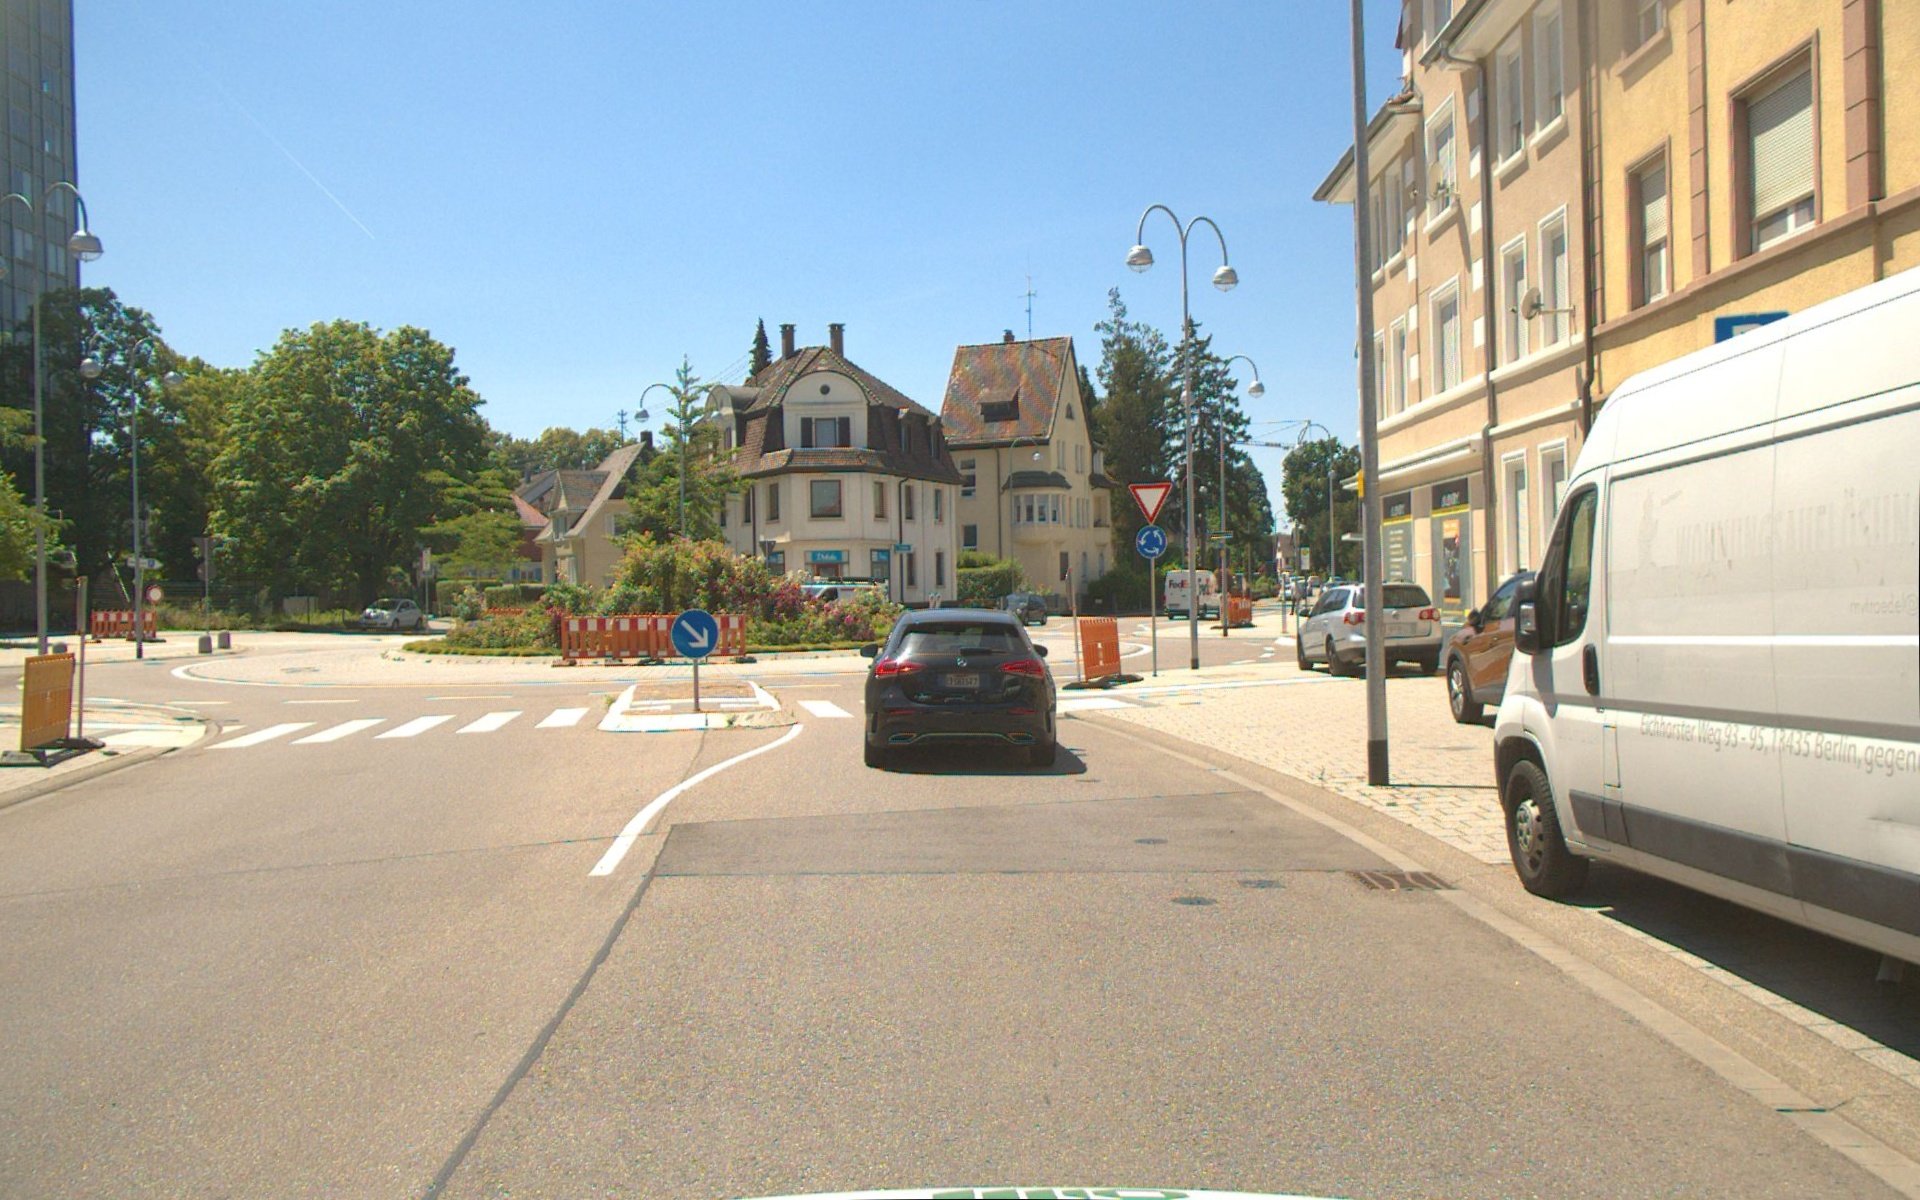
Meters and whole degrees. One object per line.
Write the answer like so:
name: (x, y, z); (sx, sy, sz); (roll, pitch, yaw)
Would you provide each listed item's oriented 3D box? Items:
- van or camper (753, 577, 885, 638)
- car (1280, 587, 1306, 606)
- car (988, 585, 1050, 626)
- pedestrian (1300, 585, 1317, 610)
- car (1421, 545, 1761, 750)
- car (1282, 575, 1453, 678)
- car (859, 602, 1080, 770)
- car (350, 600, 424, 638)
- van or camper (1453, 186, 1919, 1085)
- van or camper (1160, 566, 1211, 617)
van or camper: (-5.261, 0.262, 62.539); (1.960, 2.210, 5.392); (-1, 0, 36)
car: (30.294, -0.355, 150.534); (1.951, 1.680, 4.003); (-1, 0, 16)
car: (2.752, 0.247, 76.399); (1.880, 1.803, 4.002); (1, 0, 17)
pedestrian: (18.539, -0.136, 87.950); (0.653, 1.308, 0.587); (-5, -1, 25)
car: (6.017, 0.406, 16.368); (1.639, 1.648, 4.363); (-4, 0, 0)
car: (6.887, 0.411, 28.435); (1.728, 1.556, 4.690); (-2, 0, 0)
car: (0.023, 0.770, 16.398); (1.914, 1.452, 3.998); (0, -1, -2)
car: (-26.754, 0.922, 77.323); (1.747, 1.625, 3.923); (-1, -2, 7)
van or camper: (3.846, 0.081, 6.176); (2.121, 2.634, 5.765); (-2, 0, -1)
van or camper: (12.162, -0.469, 88.877); (2.159, 2.656, 4.003); (-1, 0, 16)
